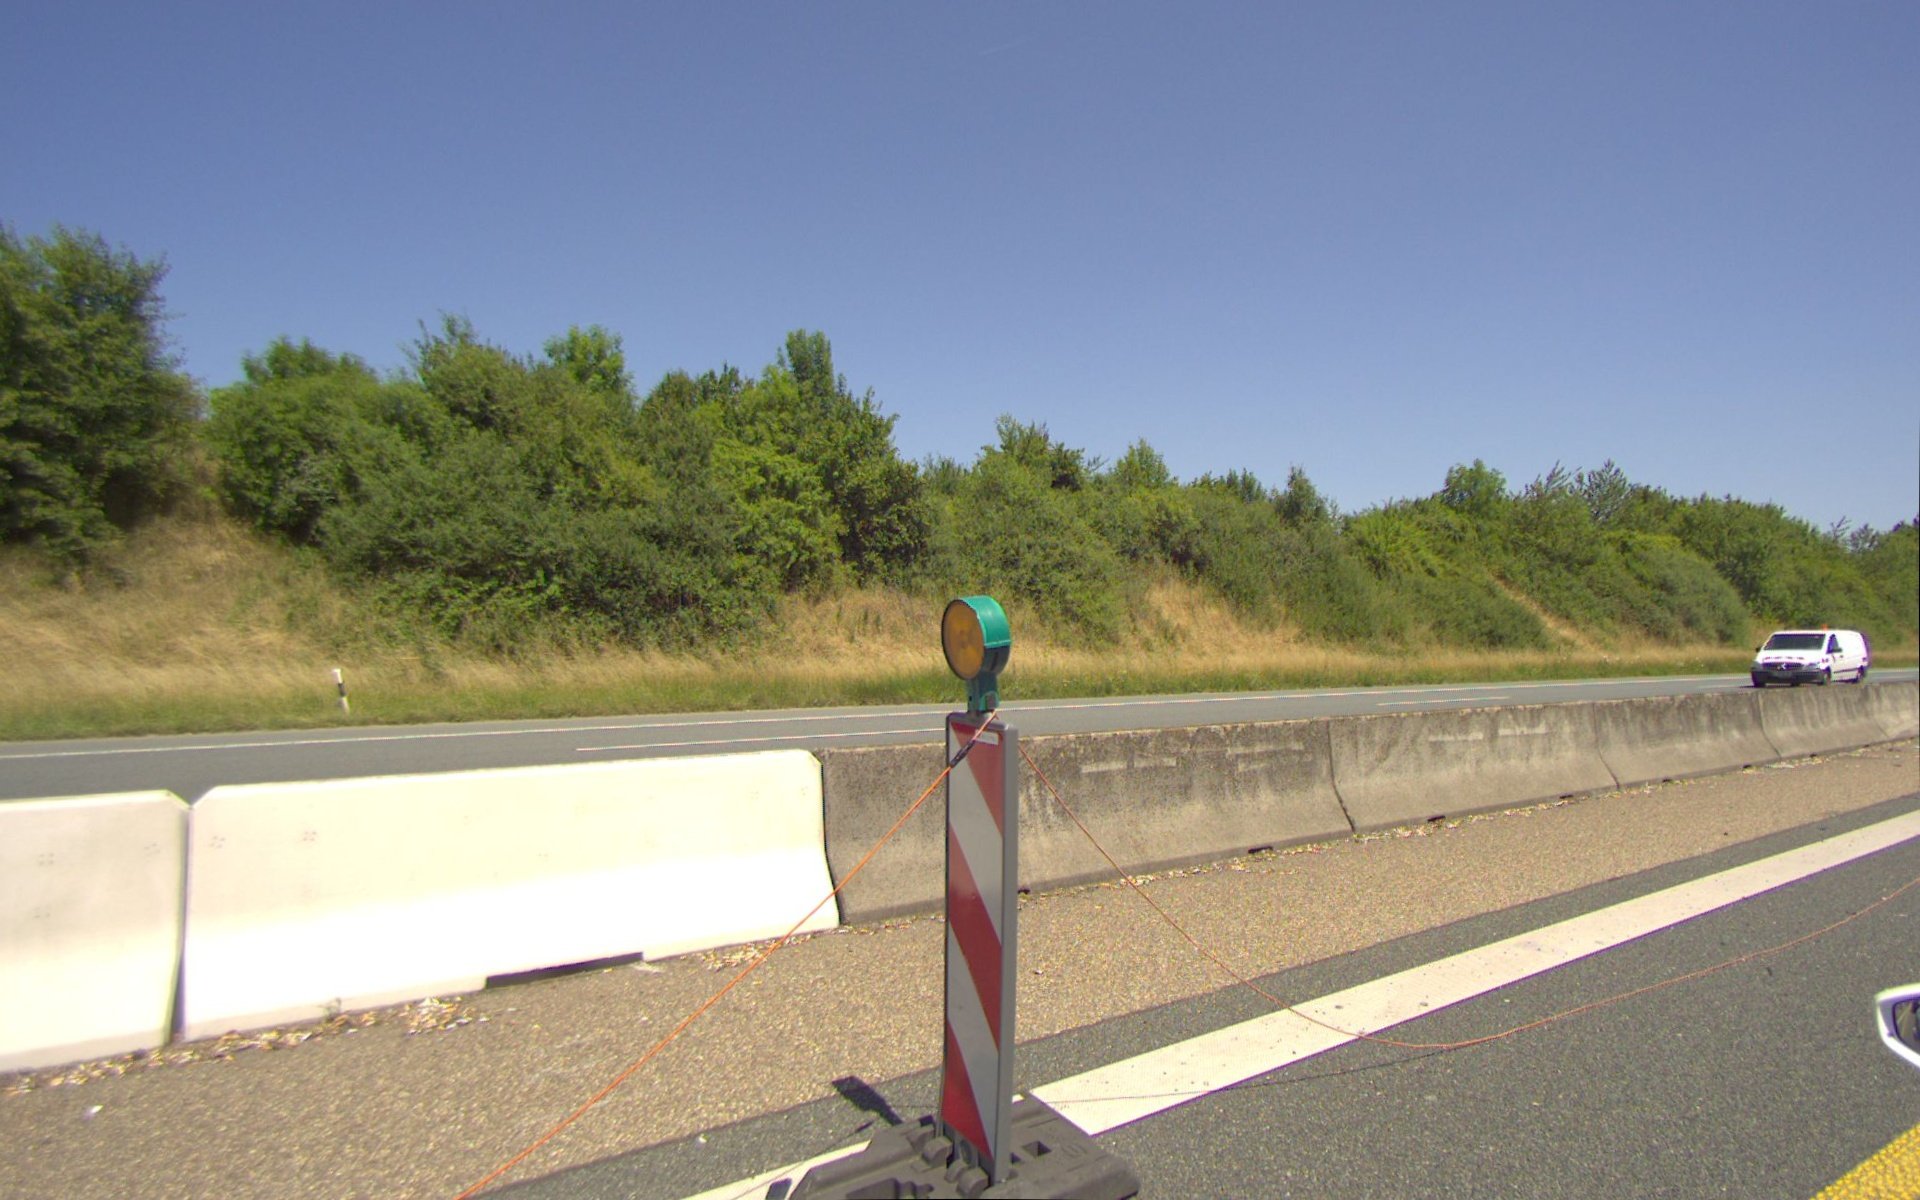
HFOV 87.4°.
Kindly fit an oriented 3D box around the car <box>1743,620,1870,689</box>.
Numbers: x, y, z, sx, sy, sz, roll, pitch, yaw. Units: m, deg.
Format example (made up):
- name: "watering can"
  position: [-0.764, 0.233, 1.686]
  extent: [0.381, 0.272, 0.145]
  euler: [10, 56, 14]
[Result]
- name: "car"
  position: [27.741, 1.748, 32.886]
  extent: [4.888, 2.112, 1.951]
  euler: [2, -2, -34]
